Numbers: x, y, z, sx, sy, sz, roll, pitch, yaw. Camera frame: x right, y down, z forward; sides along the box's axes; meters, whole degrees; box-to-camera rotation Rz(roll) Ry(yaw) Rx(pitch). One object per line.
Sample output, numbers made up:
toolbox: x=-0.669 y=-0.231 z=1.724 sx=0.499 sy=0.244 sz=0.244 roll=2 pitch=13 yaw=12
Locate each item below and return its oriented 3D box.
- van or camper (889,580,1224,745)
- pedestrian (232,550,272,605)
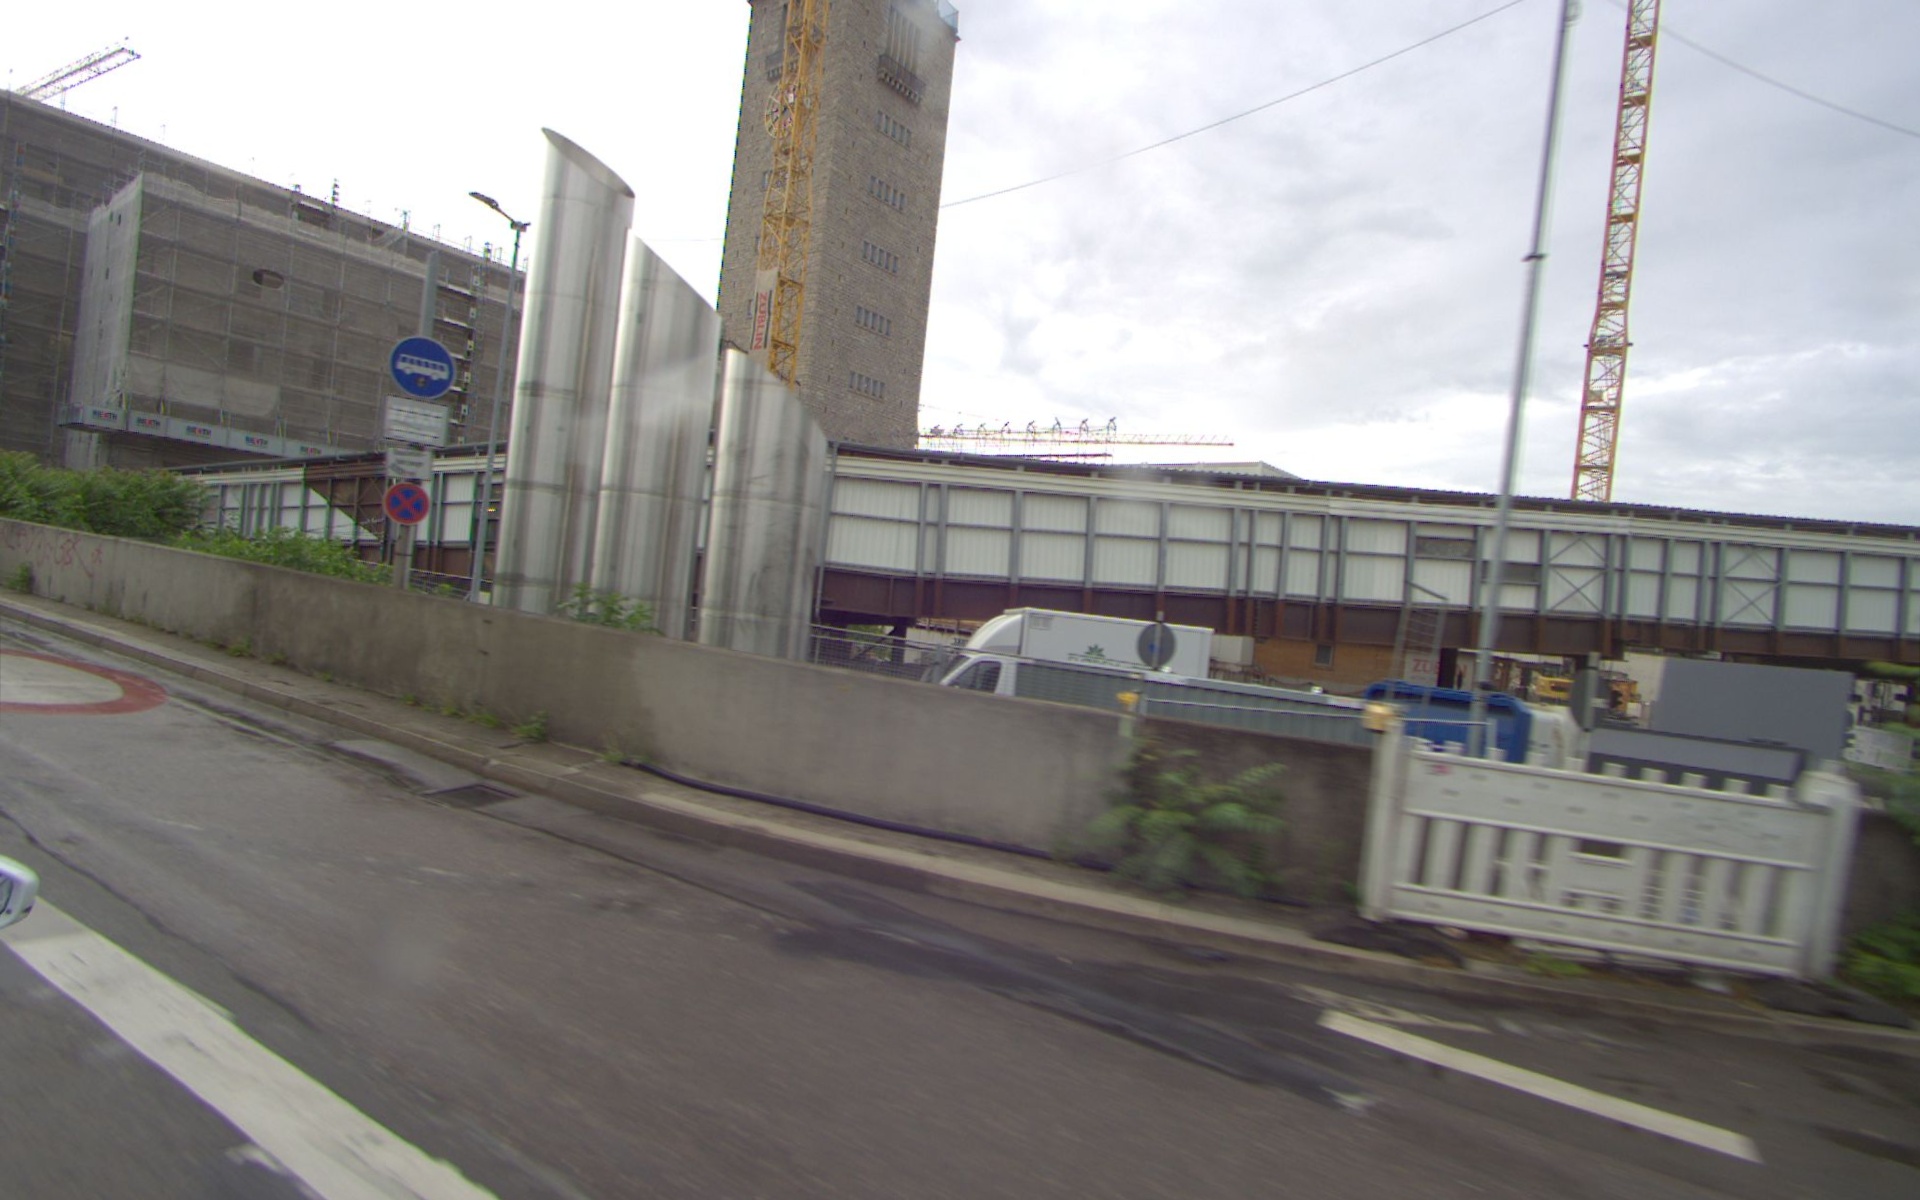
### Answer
van or camper: x=1.775 y=1.173 z=19.811 sx=5.960 sy=2.432 sz=2.382 roll=7 pitch=1 yaw=-9
pedestrian: x=-25.422 y=-0.800 z=36.109 sx=0.998 sy=1.854 sz=0.672 roll=5 pitch=-1 yaw=32
